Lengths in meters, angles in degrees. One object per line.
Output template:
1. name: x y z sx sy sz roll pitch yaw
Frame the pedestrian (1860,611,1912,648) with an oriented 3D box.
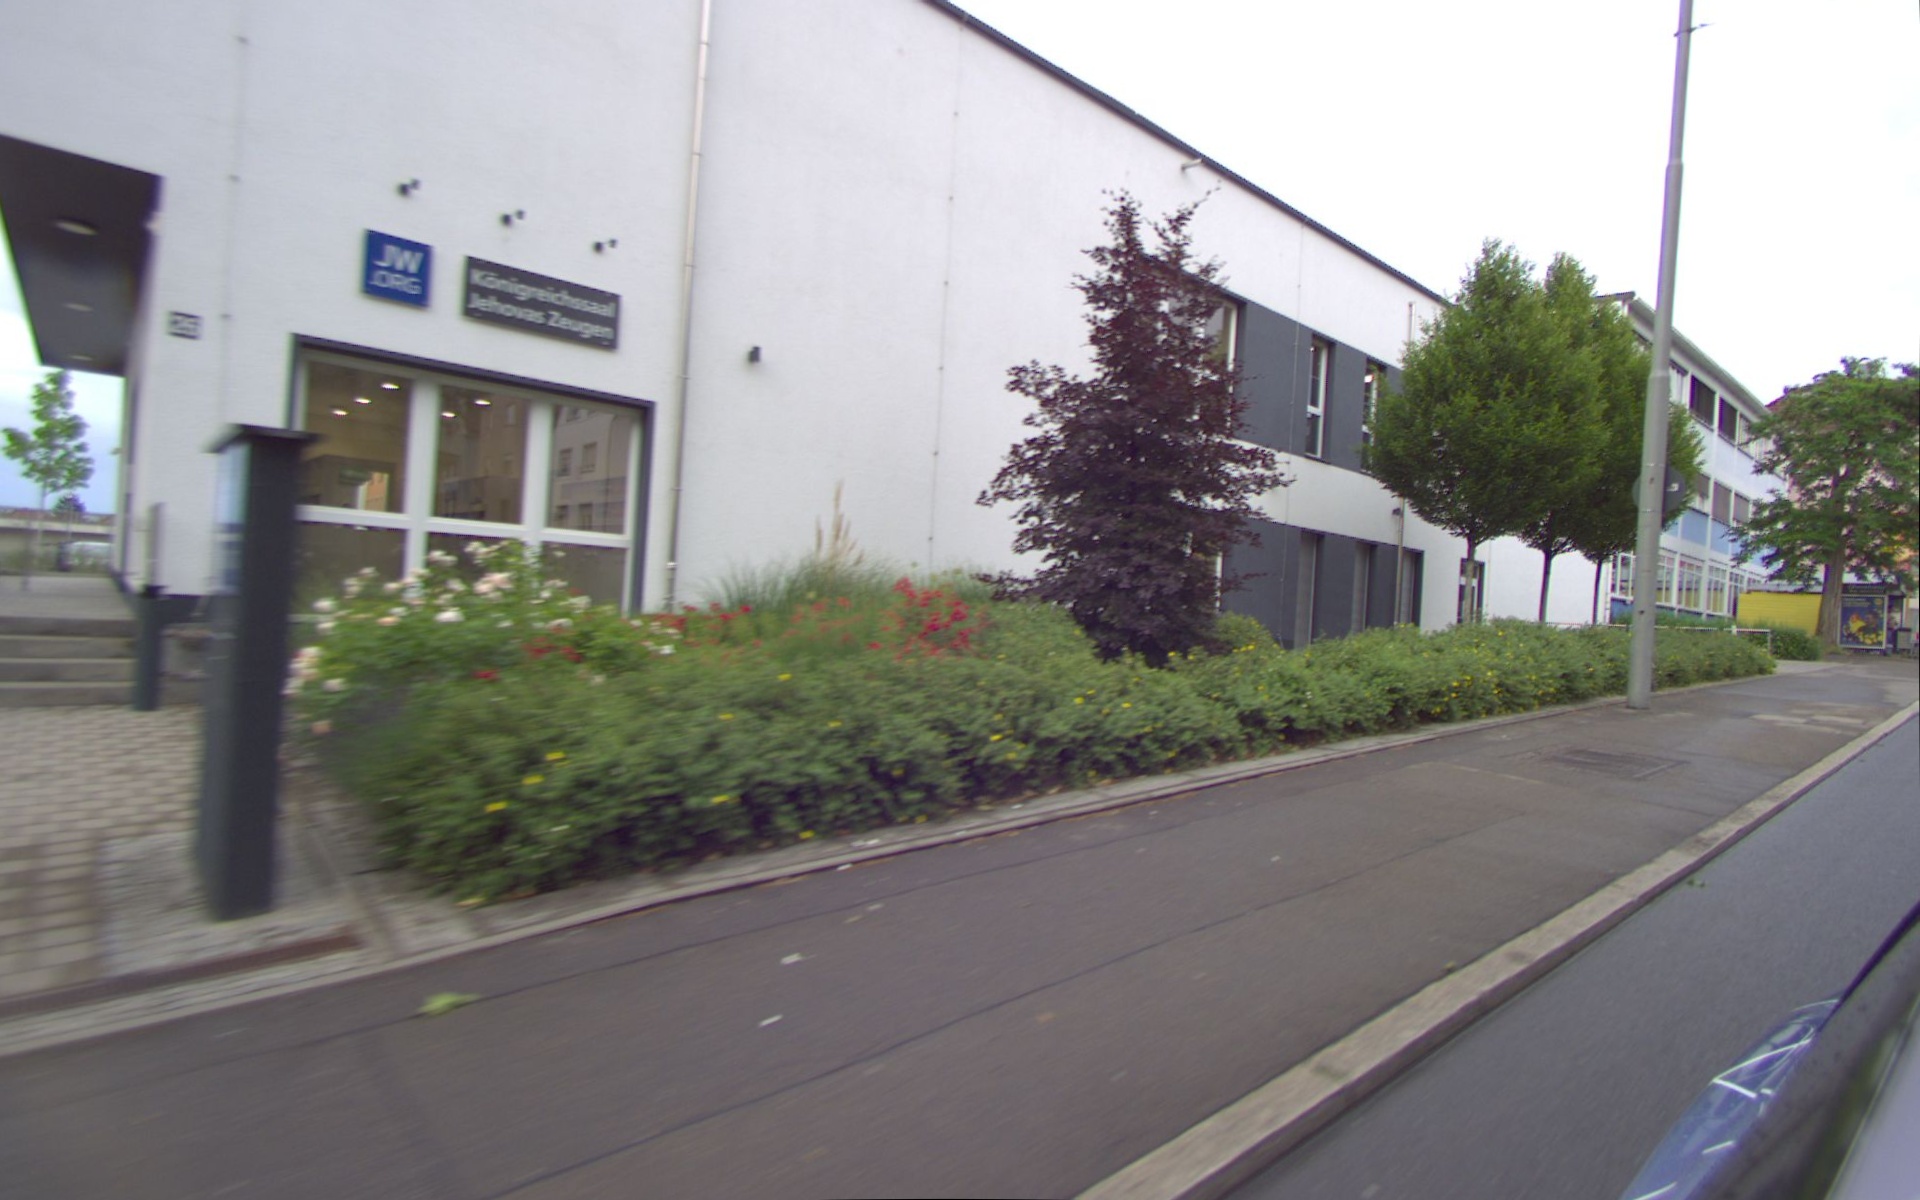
1. pedestrian: 34.323 1.086 37.521 1.356 1.289 0.729 4 2 44

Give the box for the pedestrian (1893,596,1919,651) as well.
1. pedestrian: 32.959 0.820 35.210 0.647 1.854 0.730 4 1 44

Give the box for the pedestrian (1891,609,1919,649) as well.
1. pedestrian: 40.869 1.263 43.699 0.667 1.645 0.620 5 2 21
